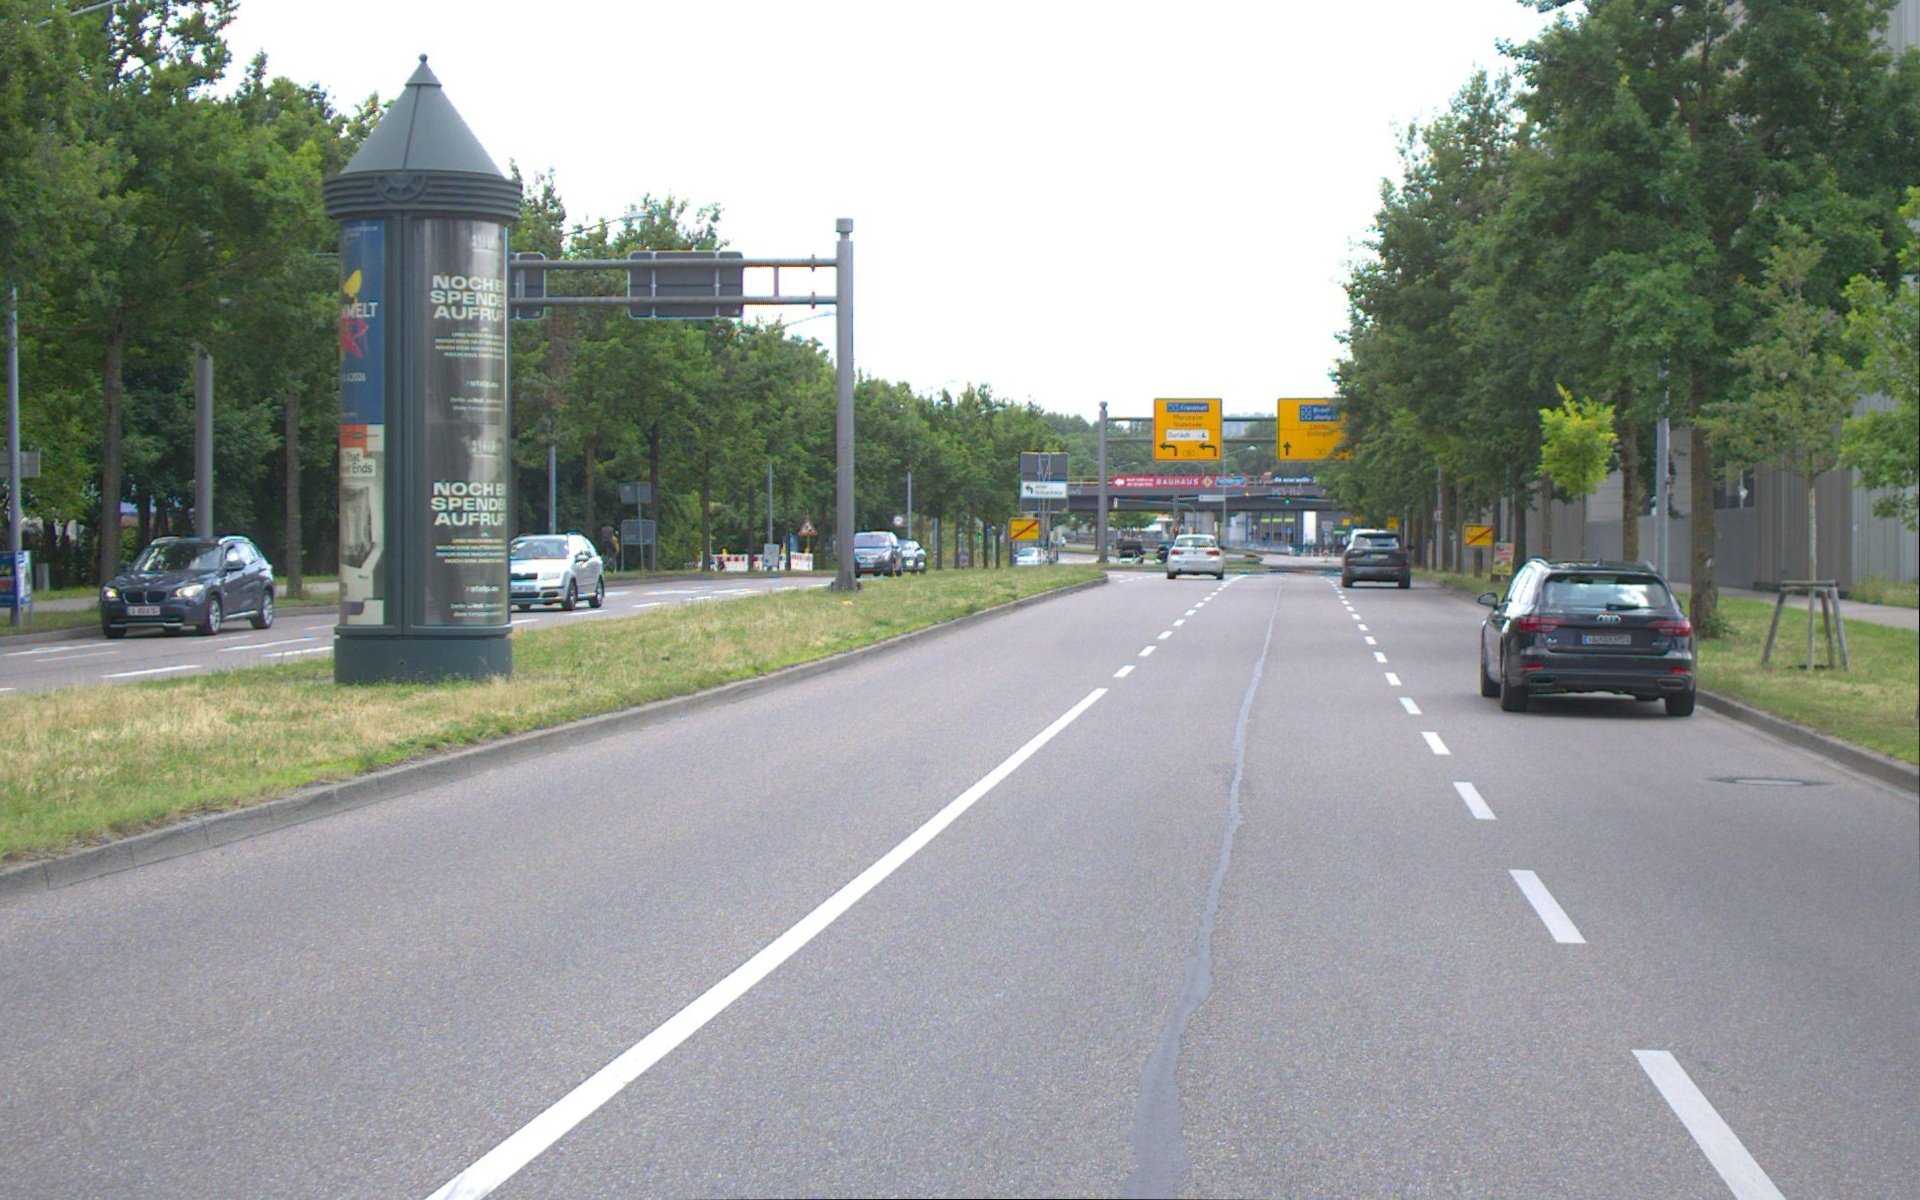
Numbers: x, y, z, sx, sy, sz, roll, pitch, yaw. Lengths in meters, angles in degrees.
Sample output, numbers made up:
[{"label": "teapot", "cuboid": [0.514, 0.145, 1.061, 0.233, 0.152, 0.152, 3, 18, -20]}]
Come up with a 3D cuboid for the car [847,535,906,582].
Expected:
[{"label": "car", "cuboid": [-2.892, -1.472, 119.681, 1.741, 1.563, 4.275, -1, 1, 2]}]

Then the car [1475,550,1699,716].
[{"label": "car", "cuboid": [5.978, 0.273, 33.145, 1.684, 1.458, 3.999, 2, 1, 4]}]

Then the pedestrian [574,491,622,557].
[{"label": "pedestrian", "cuboid": [-11.816, -2.476, 112.189, 0.970, 2.006, 1.249, -10, -1, 8]}]

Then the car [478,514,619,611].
[{"label": "car", "cuboid": [-7.814, -0.685, 65.595, 1.763, 1.435, 4.307, 0, -5, 6]}]

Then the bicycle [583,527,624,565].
[{"label": "bicycle", "cuboid": [-11.653, -1.772, 112.426, 0.808, 1.222, 2.501, 1, 1, 6]}]

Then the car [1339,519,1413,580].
[{"label": "car", "cuboid": [11.597, -1.427, 95.871, 1.994, 1.620, 4.308, 1, 1, 7]}]

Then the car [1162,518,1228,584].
[{"label": "car", "cuboid": [7.470, -1.568, 109.603, 1.994, 2.007, 4.000, 2, 1, 3]}]

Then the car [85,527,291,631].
[{"label": "car", "cuboid": [-12.291, -0.377, 55.041, 1.763, 1.571, 5.031, 0, 1, 5]}]

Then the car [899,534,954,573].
[{"label": "car", "cuboid": [-1.362, -1.943, 142.723, 1.742, 1.540, 4.572, -1, 1, 6]}]
